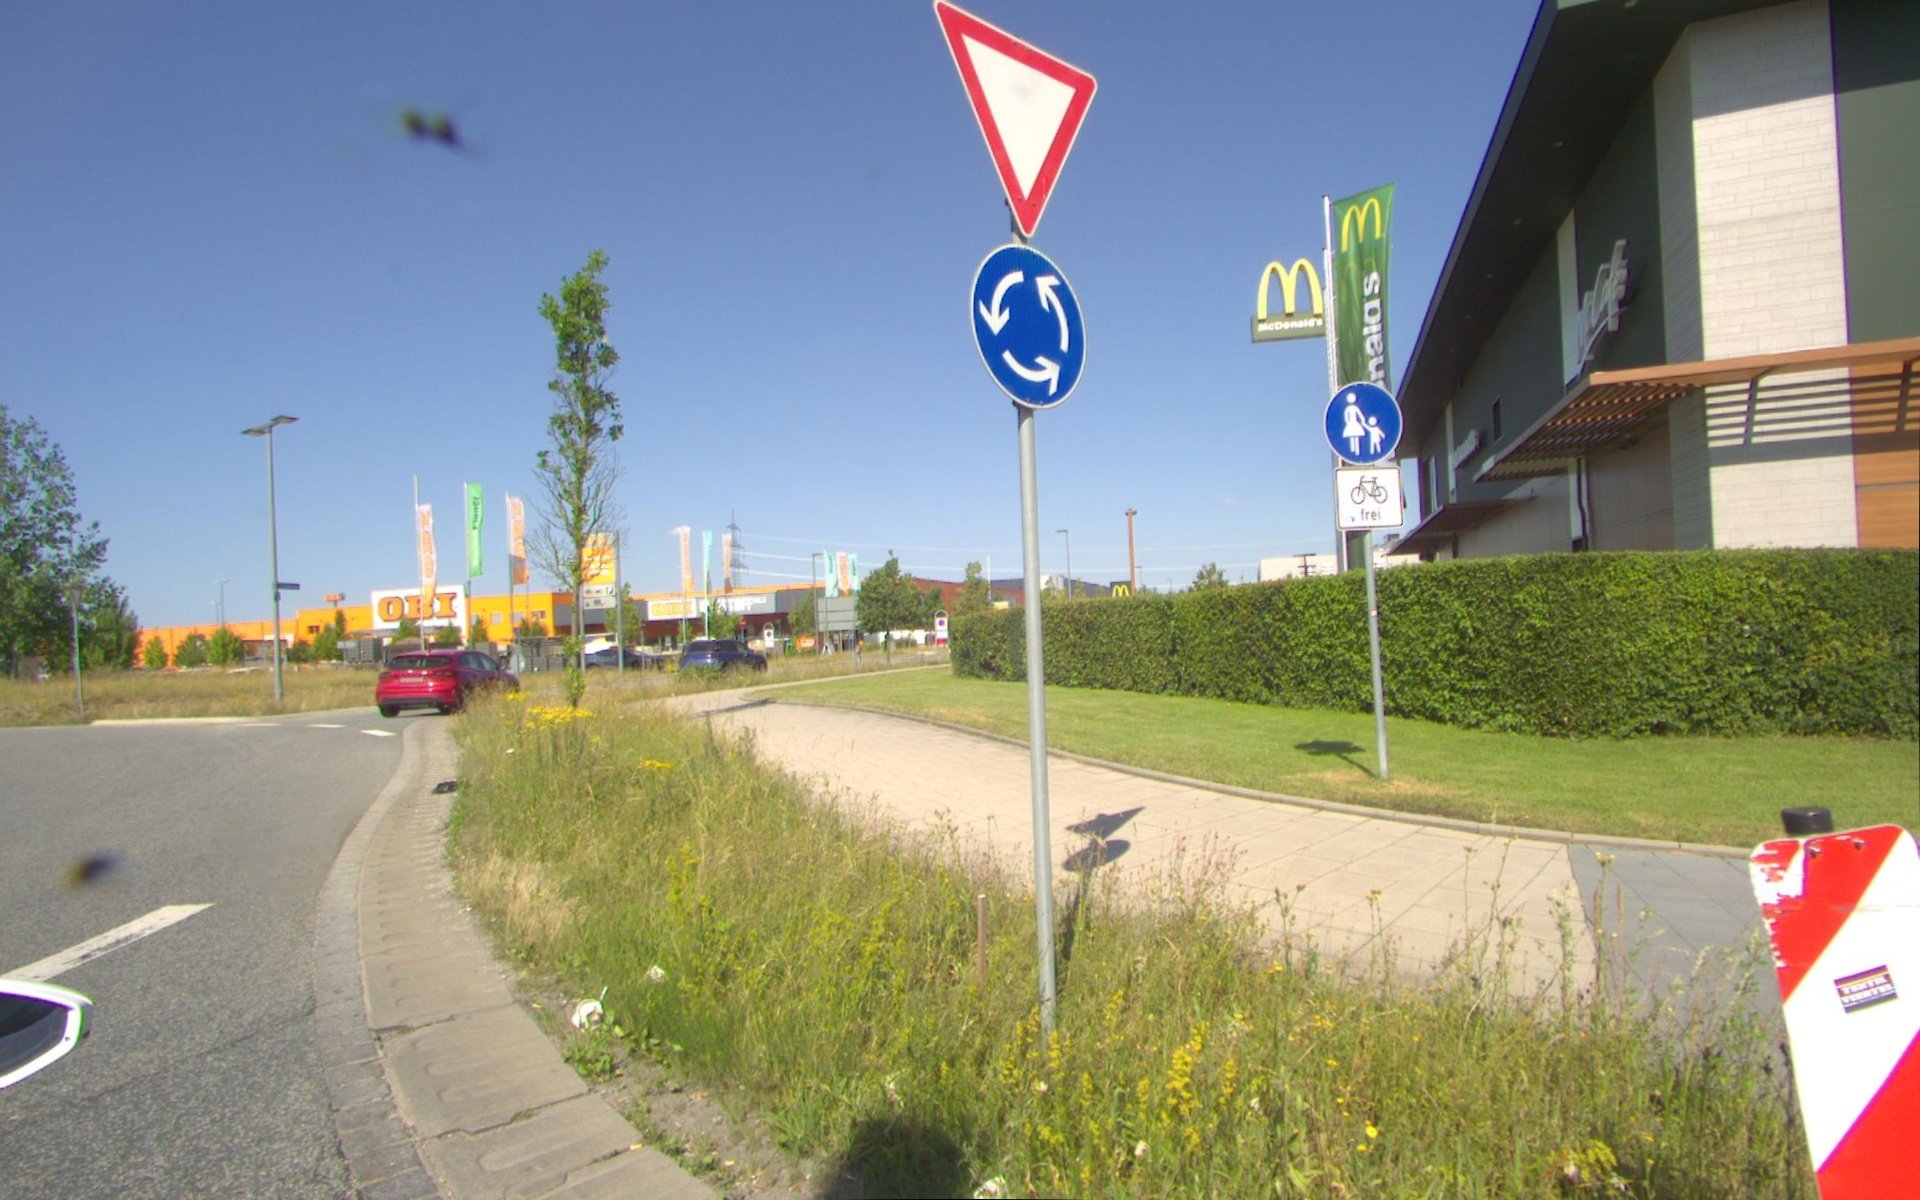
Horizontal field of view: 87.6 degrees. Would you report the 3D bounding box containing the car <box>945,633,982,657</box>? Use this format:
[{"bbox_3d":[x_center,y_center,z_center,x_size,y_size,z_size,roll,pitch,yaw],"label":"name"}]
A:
[{"bbox_3d":[0.263,2.966,66.152,1.487,1.459,3.346,-3,-1,17],"label":"car"}]

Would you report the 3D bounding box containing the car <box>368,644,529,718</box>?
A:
[{"bbox_3d":[-11.589,1.786,23.000,1.773,1.434,4.118,-1,-2,-4],"label":"car"}]

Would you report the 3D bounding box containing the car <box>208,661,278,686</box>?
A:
[{"bbox_3d":[-53.867,5.490,75.273,3.923,1.638,2.001,-3,-2,5],"label":"car"}]

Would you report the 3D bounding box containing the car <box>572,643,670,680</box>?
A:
[{"bbox_3d":[-18.626,3.372,55.113,4.609,1.647,2.078,-4,-2,10],"label":"car"}]

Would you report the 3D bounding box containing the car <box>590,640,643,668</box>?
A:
[{"bbox_3d":[-24.222,3.797,70.775,1.670,1.863,3.773,-3,-4,15],"label":"car"}]

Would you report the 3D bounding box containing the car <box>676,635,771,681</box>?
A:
[{"bbox_3d":[-9.134,2.216,38.998,1.823,1.656,4.076,-2,-2,16],"label":"car"}]
